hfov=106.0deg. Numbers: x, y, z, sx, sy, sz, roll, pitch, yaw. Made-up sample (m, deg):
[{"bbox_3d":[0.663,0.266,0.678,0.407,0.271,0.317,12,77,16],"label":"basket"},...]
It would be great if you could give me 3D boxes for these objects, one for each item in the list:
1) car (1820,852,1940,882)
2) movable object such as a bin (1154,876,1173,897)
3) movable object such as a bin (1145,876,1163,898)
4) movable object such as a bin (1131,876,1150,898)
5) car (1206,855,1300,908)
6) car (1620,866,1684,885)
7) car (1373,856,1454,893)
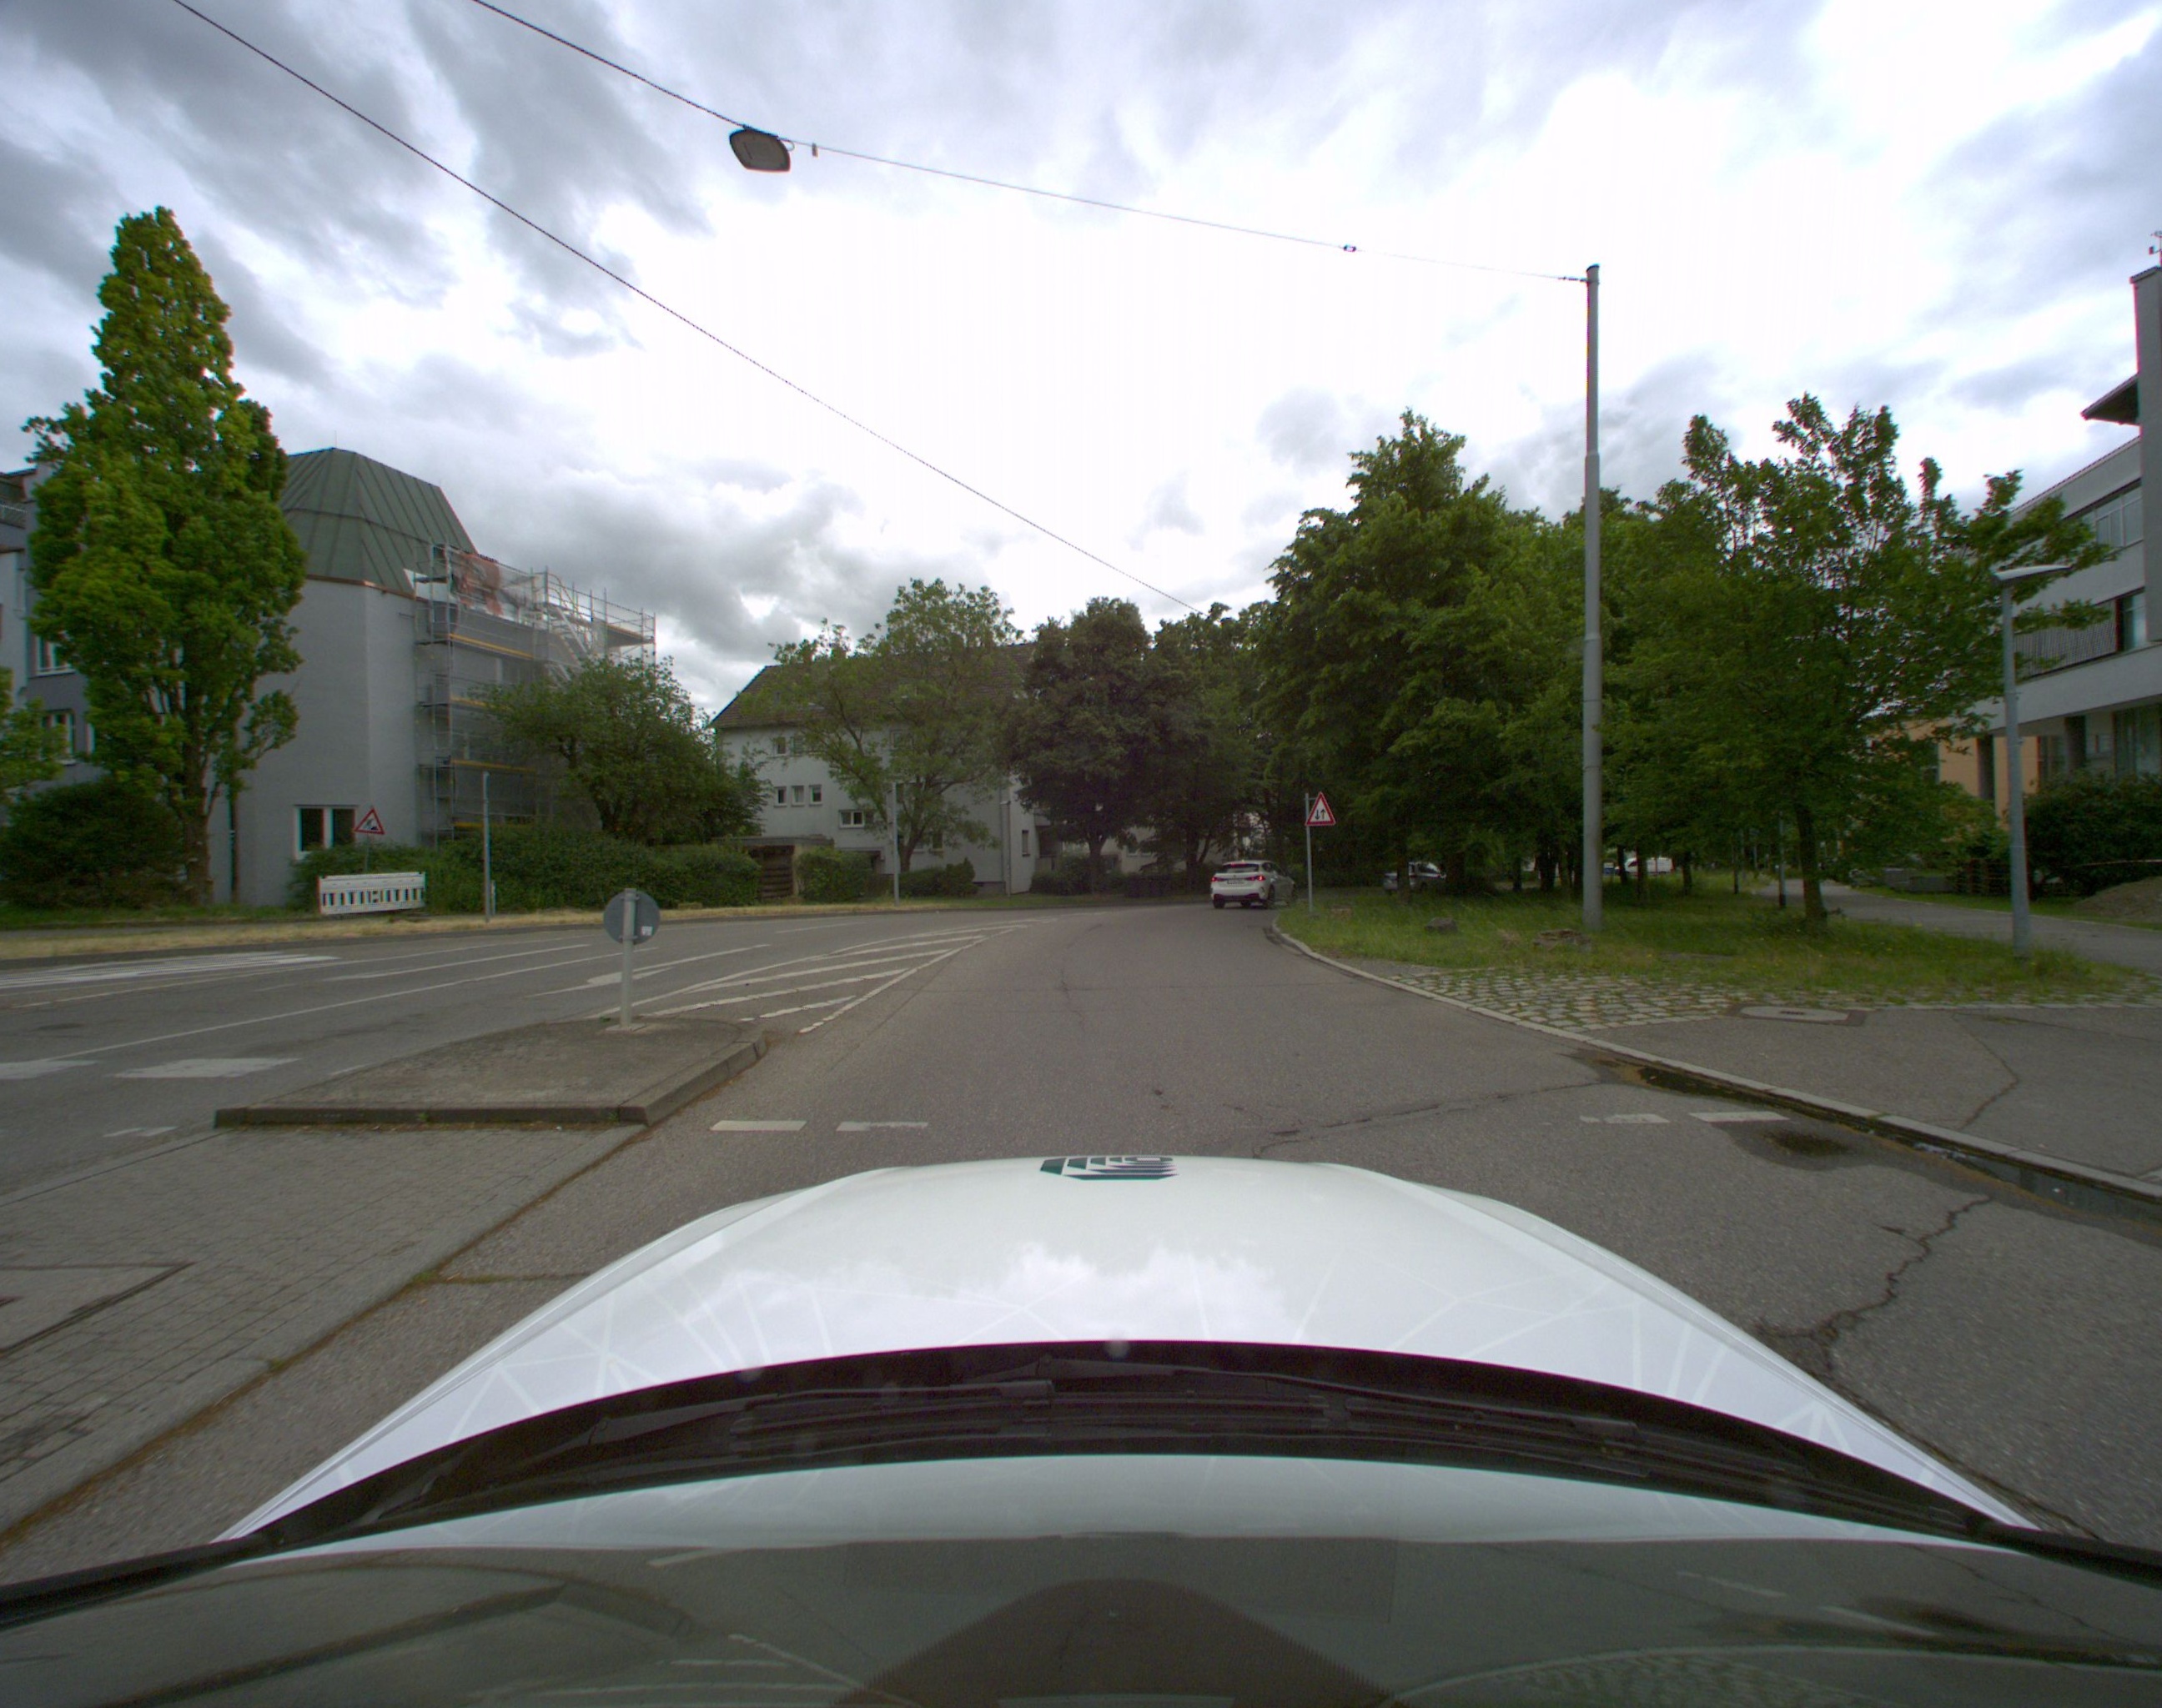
[{"bbox_3d":[45.093,0.745,46.031,4.705,1.517,1.873,-2,-3,4],"label":"car"},{"bbox_3d":[3.498,1.384,34.431,0.578,0.845,0.596,1,0,-21],"label":"movable object such as a bin"},{"bbox_3d":[3.061,1.382,34.200,0.578,0.866,0.596,1,0,-21],"label":"movable object such as a bin"},{"bbox_3d":[2.483,1.383,33.997,0.593,0.879,0.616,1,0,-21],"label":"movable object such as a bin"},{"bbox_3d":[5.481,0.855,25.604,1.779,1.518,4.232,-1,-2,28],"label":"car"},{"bbox_3d":[76.670,2.901,109.448,6.912,2.522,2.091,0,0,11],"label":"car"},{"bbox_3d":[14.958,0.906,36.568,4.023,1.574,1.905,1,-2,-44],"label":"car"}]
